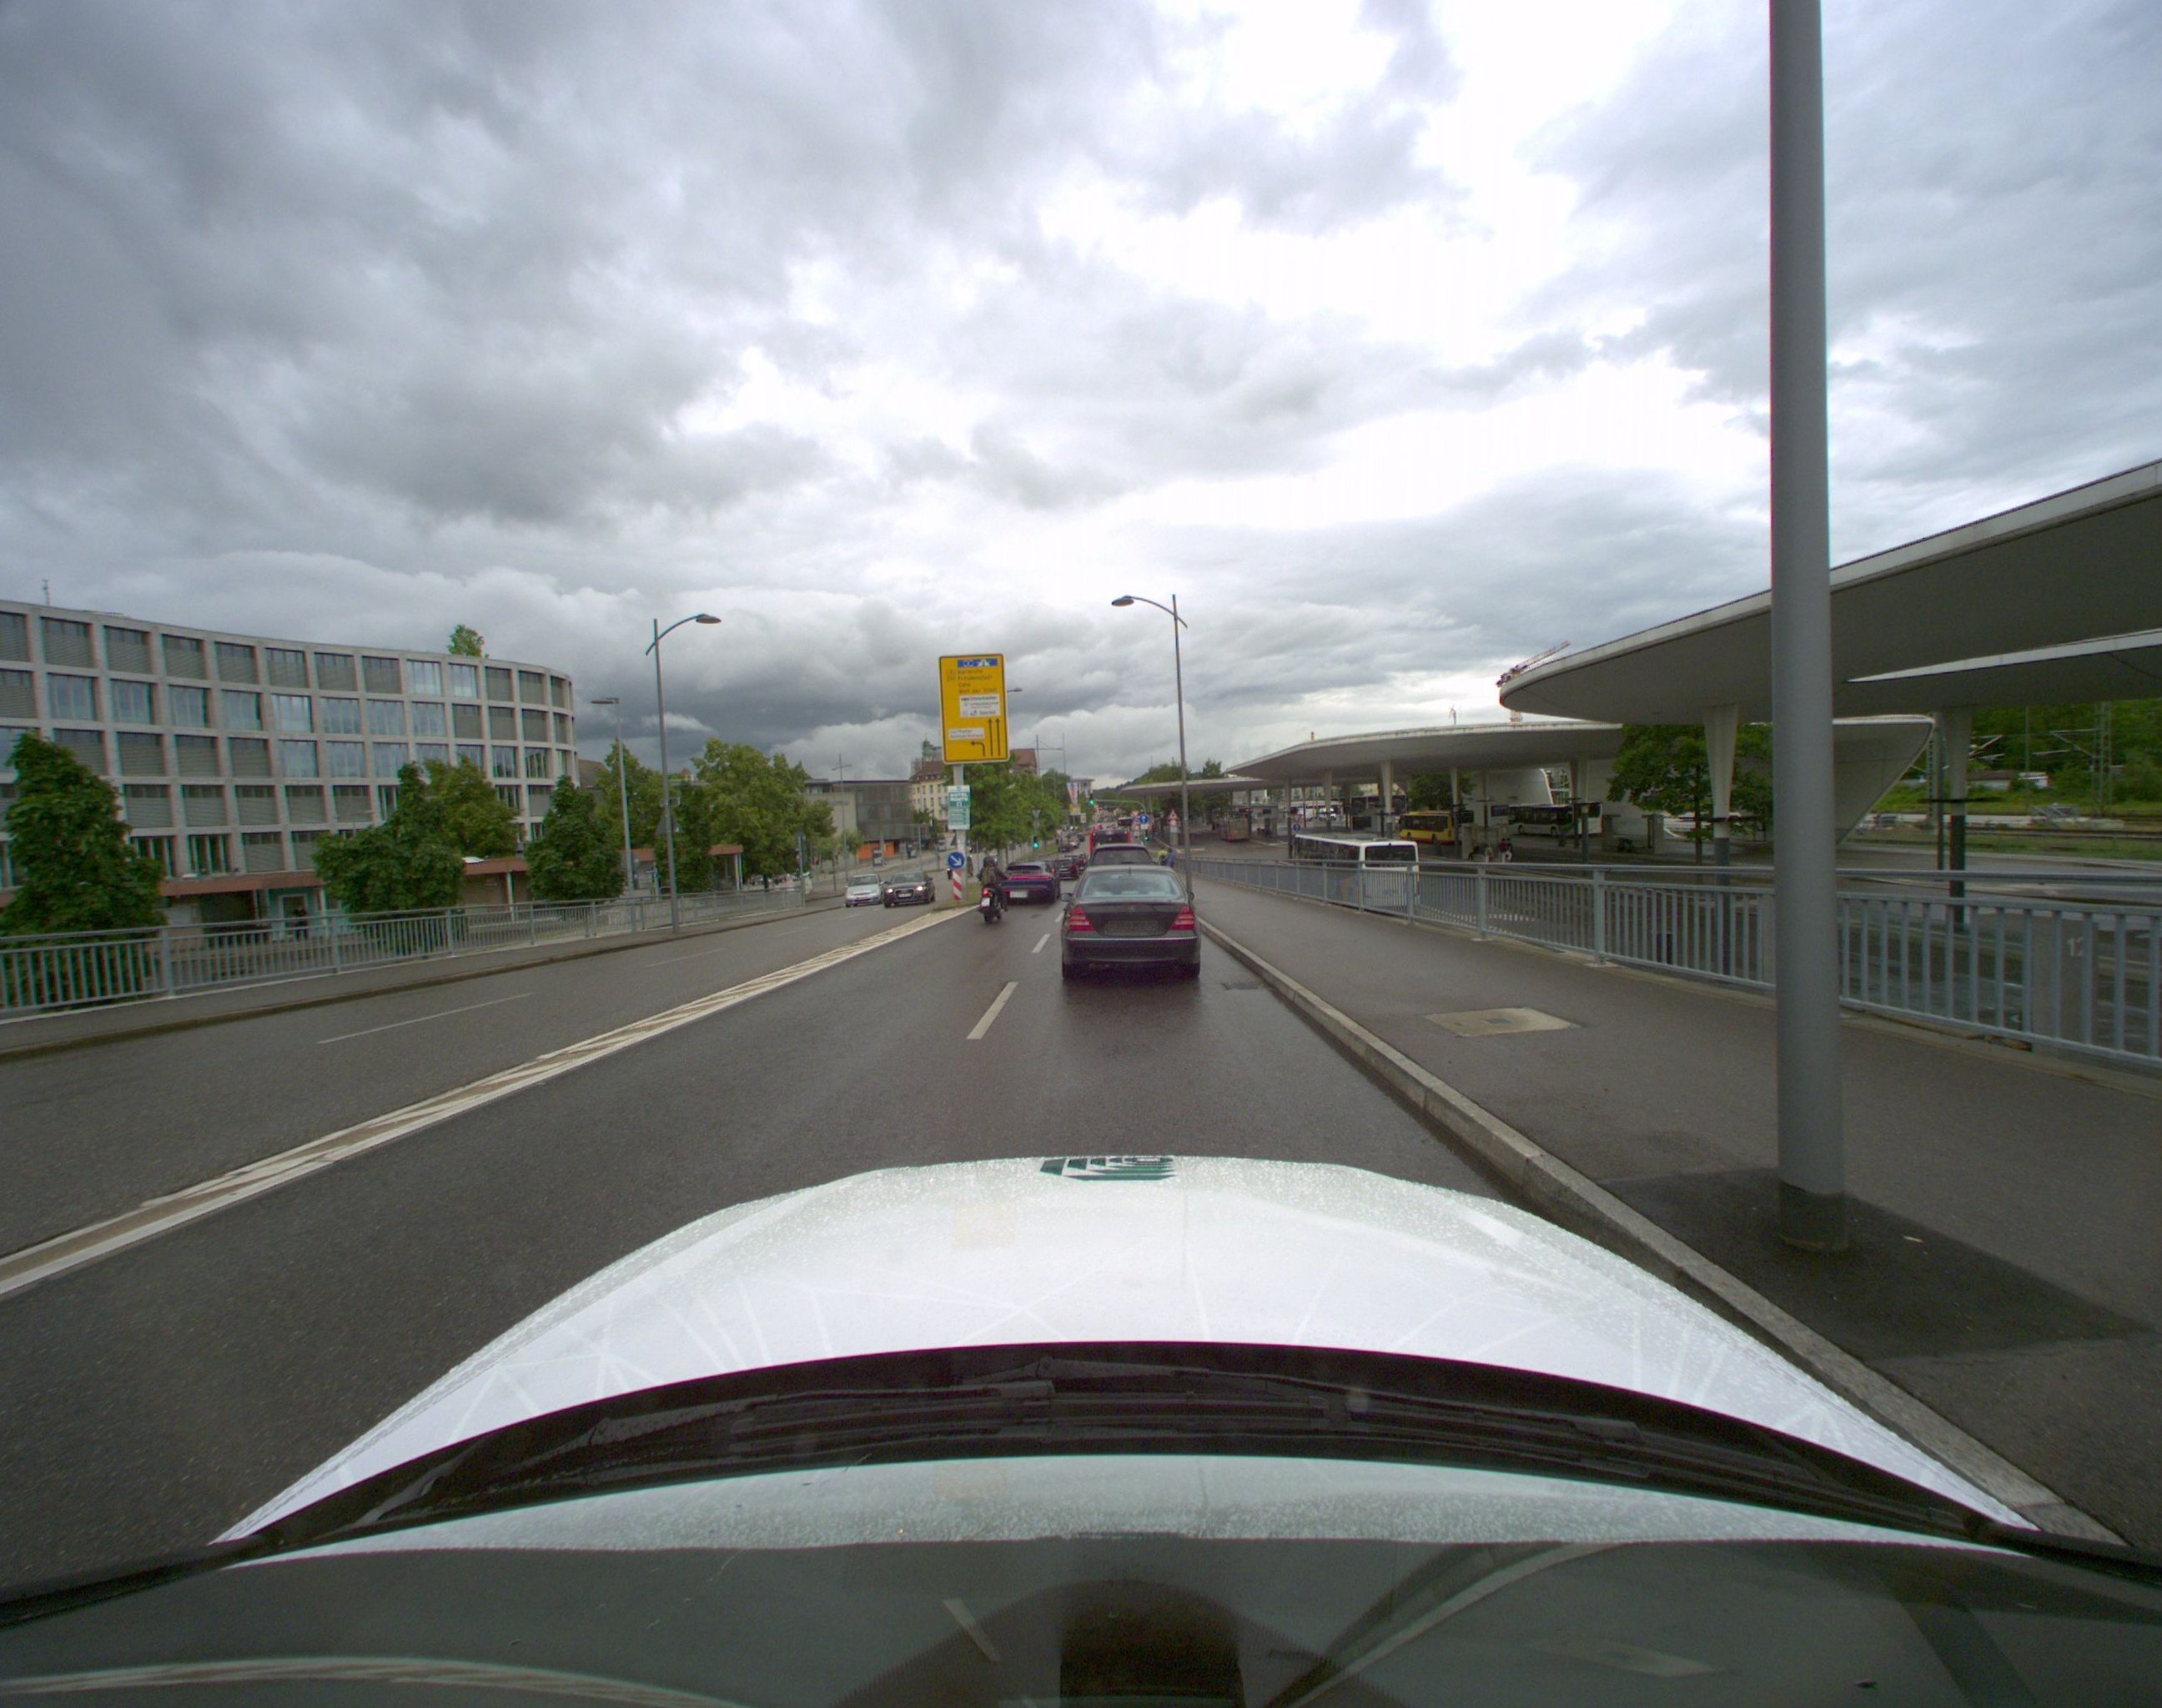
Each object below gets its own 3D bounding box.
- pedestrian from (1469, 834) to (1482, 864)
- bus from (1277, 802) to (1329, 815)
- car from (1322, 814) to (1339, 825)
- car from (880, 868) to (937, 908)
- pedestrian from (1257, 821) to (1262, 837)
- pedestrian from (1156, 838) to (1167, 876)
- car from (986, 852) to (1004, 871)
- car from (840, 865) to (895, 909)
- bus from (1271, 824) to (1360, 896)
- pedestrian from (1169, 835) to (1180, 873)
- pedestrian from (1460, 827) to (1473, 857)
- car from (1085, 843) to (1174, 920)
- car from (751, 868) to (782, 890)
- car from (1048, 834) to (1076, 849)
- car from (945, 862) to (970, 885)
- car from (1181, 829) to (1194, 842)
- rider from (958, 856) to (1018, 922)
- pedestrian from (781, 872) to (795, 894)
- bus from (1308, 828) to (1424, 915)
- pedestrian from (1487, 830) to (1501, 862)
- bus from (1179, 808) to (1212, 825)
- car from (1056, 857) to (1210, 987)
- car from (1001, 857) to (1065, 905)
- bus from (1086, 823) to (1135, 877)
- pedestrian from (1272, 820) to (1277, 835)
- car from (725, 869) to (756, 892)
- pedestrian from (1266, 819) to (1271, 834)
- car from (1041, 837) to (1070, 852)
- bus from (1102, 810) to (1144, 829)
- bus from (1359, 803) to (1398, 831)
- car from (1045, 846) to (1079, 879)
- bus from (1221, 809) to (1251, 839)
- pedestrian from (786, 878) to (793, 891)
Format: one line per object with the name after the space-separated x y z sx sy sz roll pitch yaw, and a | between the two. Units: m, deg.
26.466 -0.351 54.611 0.541 2.013 0.580 -3 0 2 | pedestrian
45.749 -9.348 168.269 10.139 2.013 2.169 -3 1 -1 | bus
47.745 -6.664 155.979 1.986 2.013 4.002 -3 2 2 | car
-7.391 1.447 35.261 1.830 1.526 4.585 -3 -1 -5 | car
23.027 -3.232 105.199 0.422 2.013 0.484 -3 0 4 | pedestrian
4.326 0.190 43.915 0.487 2.014 0.470 -3 -2 4 | pedestrian
-10.092 0.910 95.730 1.990 2.014 4.195 -3 -1 -5 | car
-10.804 1.625 41.548 1.991 2.013 3.992 -3 0 -5 | car
12.642 0.178 44.550 2.639 3.235 7.070 -3 4 -1 | bus
5.040 0.005 43.878 0.422 2.014 0.484 -3 -2 4 | pedestrian
26.552 -0.811 56.095 0.541 2.013 0.580 -3 0 2 | pedestrian
1.307 0.602 20.385 1.816 1.687 4.010 -1 1 9 | car
-31.849 2.507 82.407 2.008 2.013 3.958 2 1 -35 | car
-2.874 -1.900 125.578 3.967 2.013 2.004 -3 1 6 | car
-11.737 1.833 77.603 1.990 2.014 4.195 -3 -1 -5 | car
17.921 -3.123 136.595 1.982 2.013 4.009 -3 1 8 | car
-2.185 0.797 19.483 0.876 1.472 2.201 -1 0 8 | rider
-20.390 2.015 56.677 0.645 1.408 0.531 -3 2 4 | pedestrian
12.840 0.626 37.433 2.639 3.235 7.070 -3 4 -1 | bus
26.372 -0.528 51.989 0.558 2.013 0.484 -3 0 4 | pedestrian
26.722 -8.713 189.798 7.179 3.396 3.080 -3 2 -2 | bus
0.706 0.769 10.930 1.698 1.419 3.730 -1 0 4 | car
-1.557 0.857 27.628 1.753 1.436 4.003 -1 1 2 | car
1.916 -0.269 53.606 2.817 3.189 10.313 -1 0 2 | bus
25.565 -3.511 107.691 0.422 2.014 0.484 -3 -2 4 | pedestrian
-33.943 2.604 81.039 2.008 2.013 3.958 2 1 -35 | car
25.606 -3.804 111.167 0.422 2.013 0.484 -3 0 4 | pedestrian
-3.679 -1.421 118.010 3.967 2.013 2.004 -3 1 6 | car
9.538 -7.863 184.486 3.282 4.006 10.774 -6 5 -36 | bus
37.601 -4.645 103.115 2.589 3.209 7.002 -3 2 4 | bus
-1.184 0.527 53.560 1.986 2.006 4.001 -1 1 1 | car
21.009 -3.995 110.915 3.161 3.600 10.531 -3 0 7 | bus
-20.303 2.103 56.696 0.299 0.873 0.299 -3 2 4 | pedestrian
